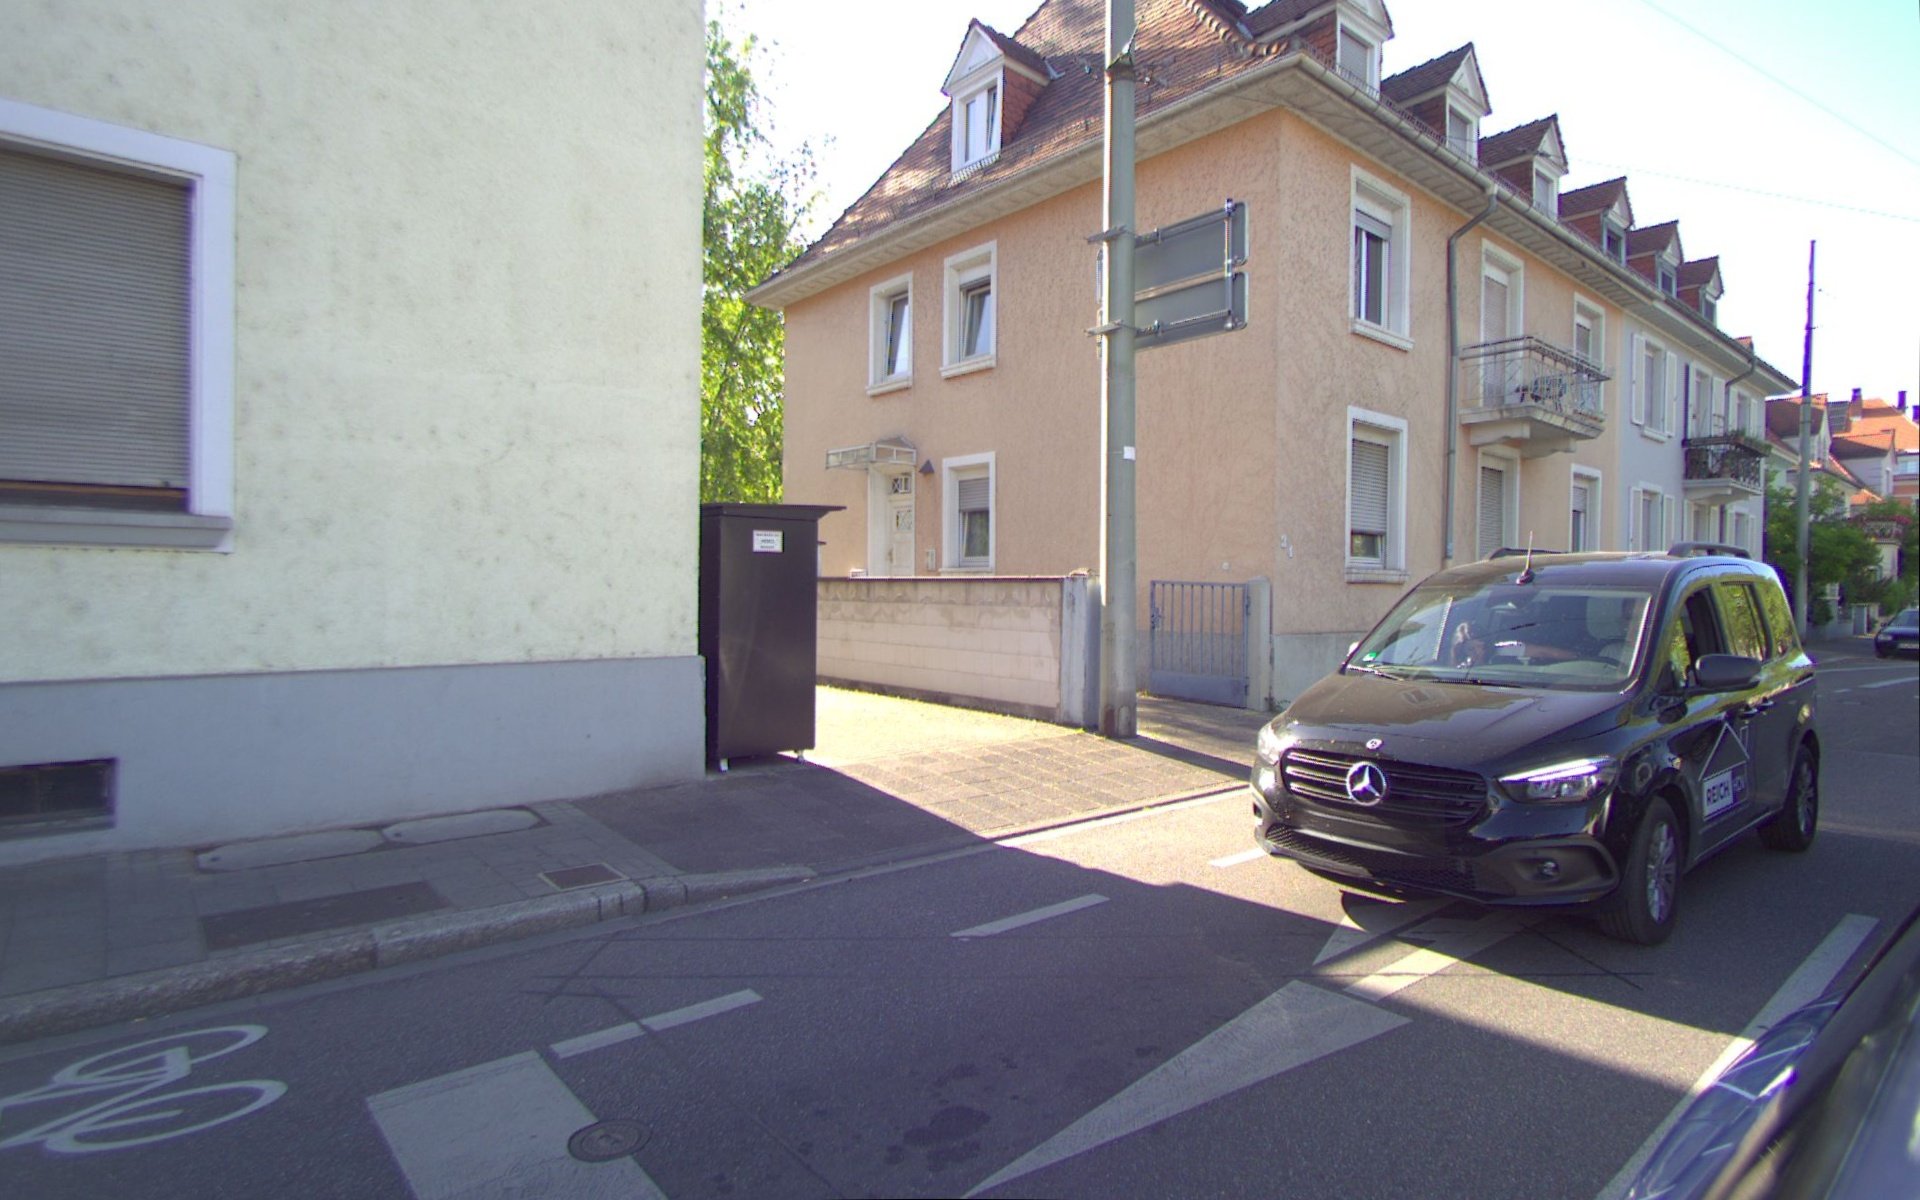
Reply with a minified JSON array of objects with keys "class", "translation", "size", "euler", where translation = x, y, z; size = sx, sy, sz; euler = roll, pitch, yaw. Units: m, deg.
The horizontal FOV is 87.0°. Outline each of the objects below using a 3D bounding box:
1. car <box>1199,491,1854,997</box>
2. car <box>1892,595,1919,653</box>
[{"class":"car","translation":[3.579,0.493,5.915],"size":[4.695,1.827,1.864],"euler":[-1,0,-41]},{"class":"car","translation":[26.660,0.622,27.271],"size":[3.930,1.476,1.839],"euler":[-1,0,-41]}]
